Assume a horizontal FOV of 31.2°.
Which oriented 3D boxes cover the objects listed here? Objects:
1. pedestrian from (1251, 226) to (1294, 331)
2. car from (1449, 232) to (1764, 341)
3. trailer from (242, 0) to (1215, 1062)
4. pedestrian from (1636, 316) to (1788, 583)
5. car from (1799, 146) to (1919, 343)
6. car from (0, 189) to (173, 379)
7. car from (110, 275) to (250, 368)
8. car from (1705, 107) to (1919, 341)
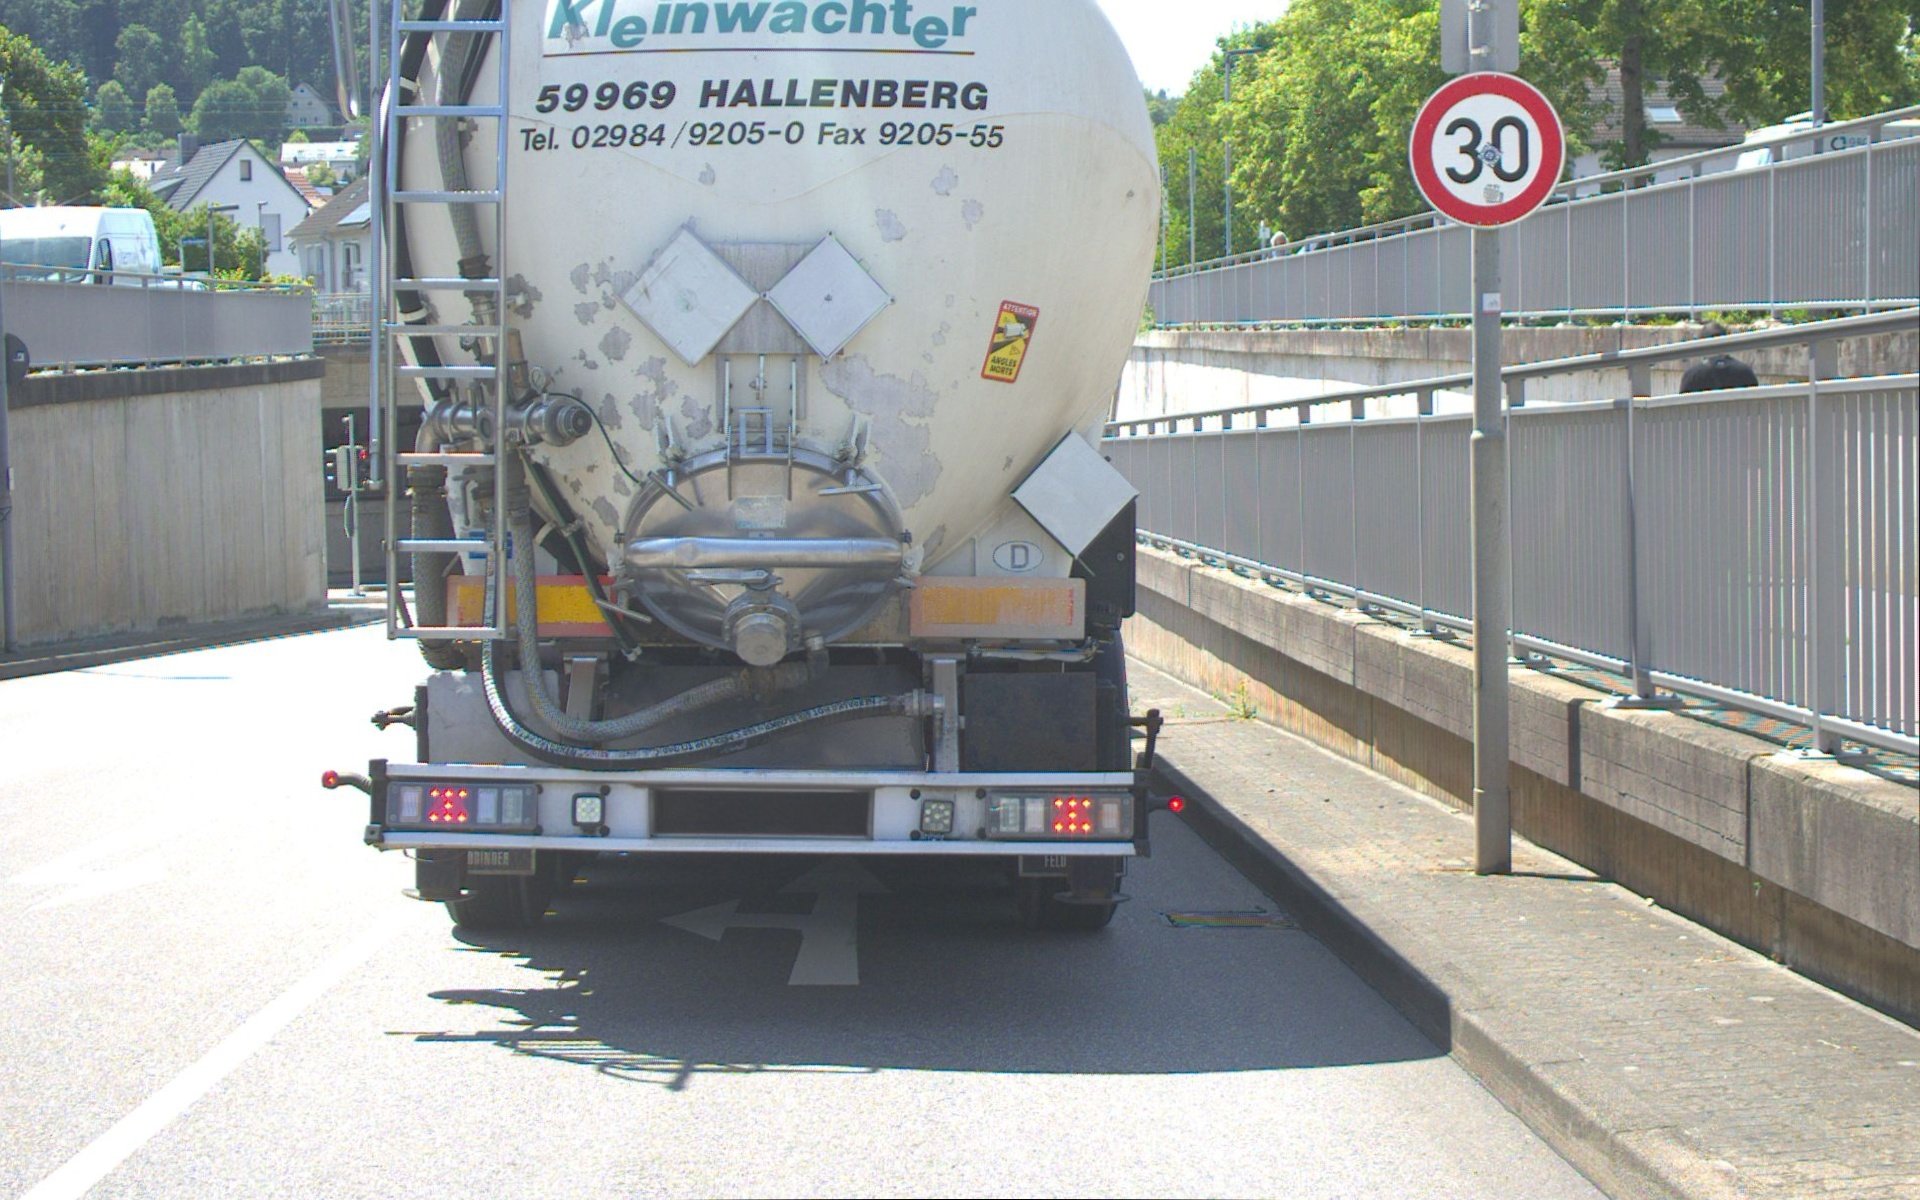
[{"bbox_3d":[5.384,-5.542,59.262,0.673,1.773,0.594,-1,4,0],"label":"pedestrian"},{"bbox_3d":[8.634,-4.194,46.124,3.905,1.362,1.686,-1,4,0],"label":"car"},{"bbox_3d":[-0.722,-0.858,16.406,2.735,4.050,13.314,1,1,-1],"label":"trailer"},{"bbox_3d":[5.114,-1.022,23.415,0.836,1.775,0.788,-1,2,-1],"label":"pedestrian"},{"bbox_3d":[9.365,-2.993,28.895,4.204,1.590,1.686,-1,4,0],"label":"car"},{"bbox_3d":[-12.801,-4.454,48.994,2.065,2.527,5.663,1,4,-2],"label":"car"},{"bbox_3d":[-13.089,-4.675,57.884,1.618,1.495,4.046,1,4,-3],"label":"car"},{"bbox_3d":[9.647,-3.457,31.720,5.112,2.056,1.989,-1,4,0],"label":"car"}]
